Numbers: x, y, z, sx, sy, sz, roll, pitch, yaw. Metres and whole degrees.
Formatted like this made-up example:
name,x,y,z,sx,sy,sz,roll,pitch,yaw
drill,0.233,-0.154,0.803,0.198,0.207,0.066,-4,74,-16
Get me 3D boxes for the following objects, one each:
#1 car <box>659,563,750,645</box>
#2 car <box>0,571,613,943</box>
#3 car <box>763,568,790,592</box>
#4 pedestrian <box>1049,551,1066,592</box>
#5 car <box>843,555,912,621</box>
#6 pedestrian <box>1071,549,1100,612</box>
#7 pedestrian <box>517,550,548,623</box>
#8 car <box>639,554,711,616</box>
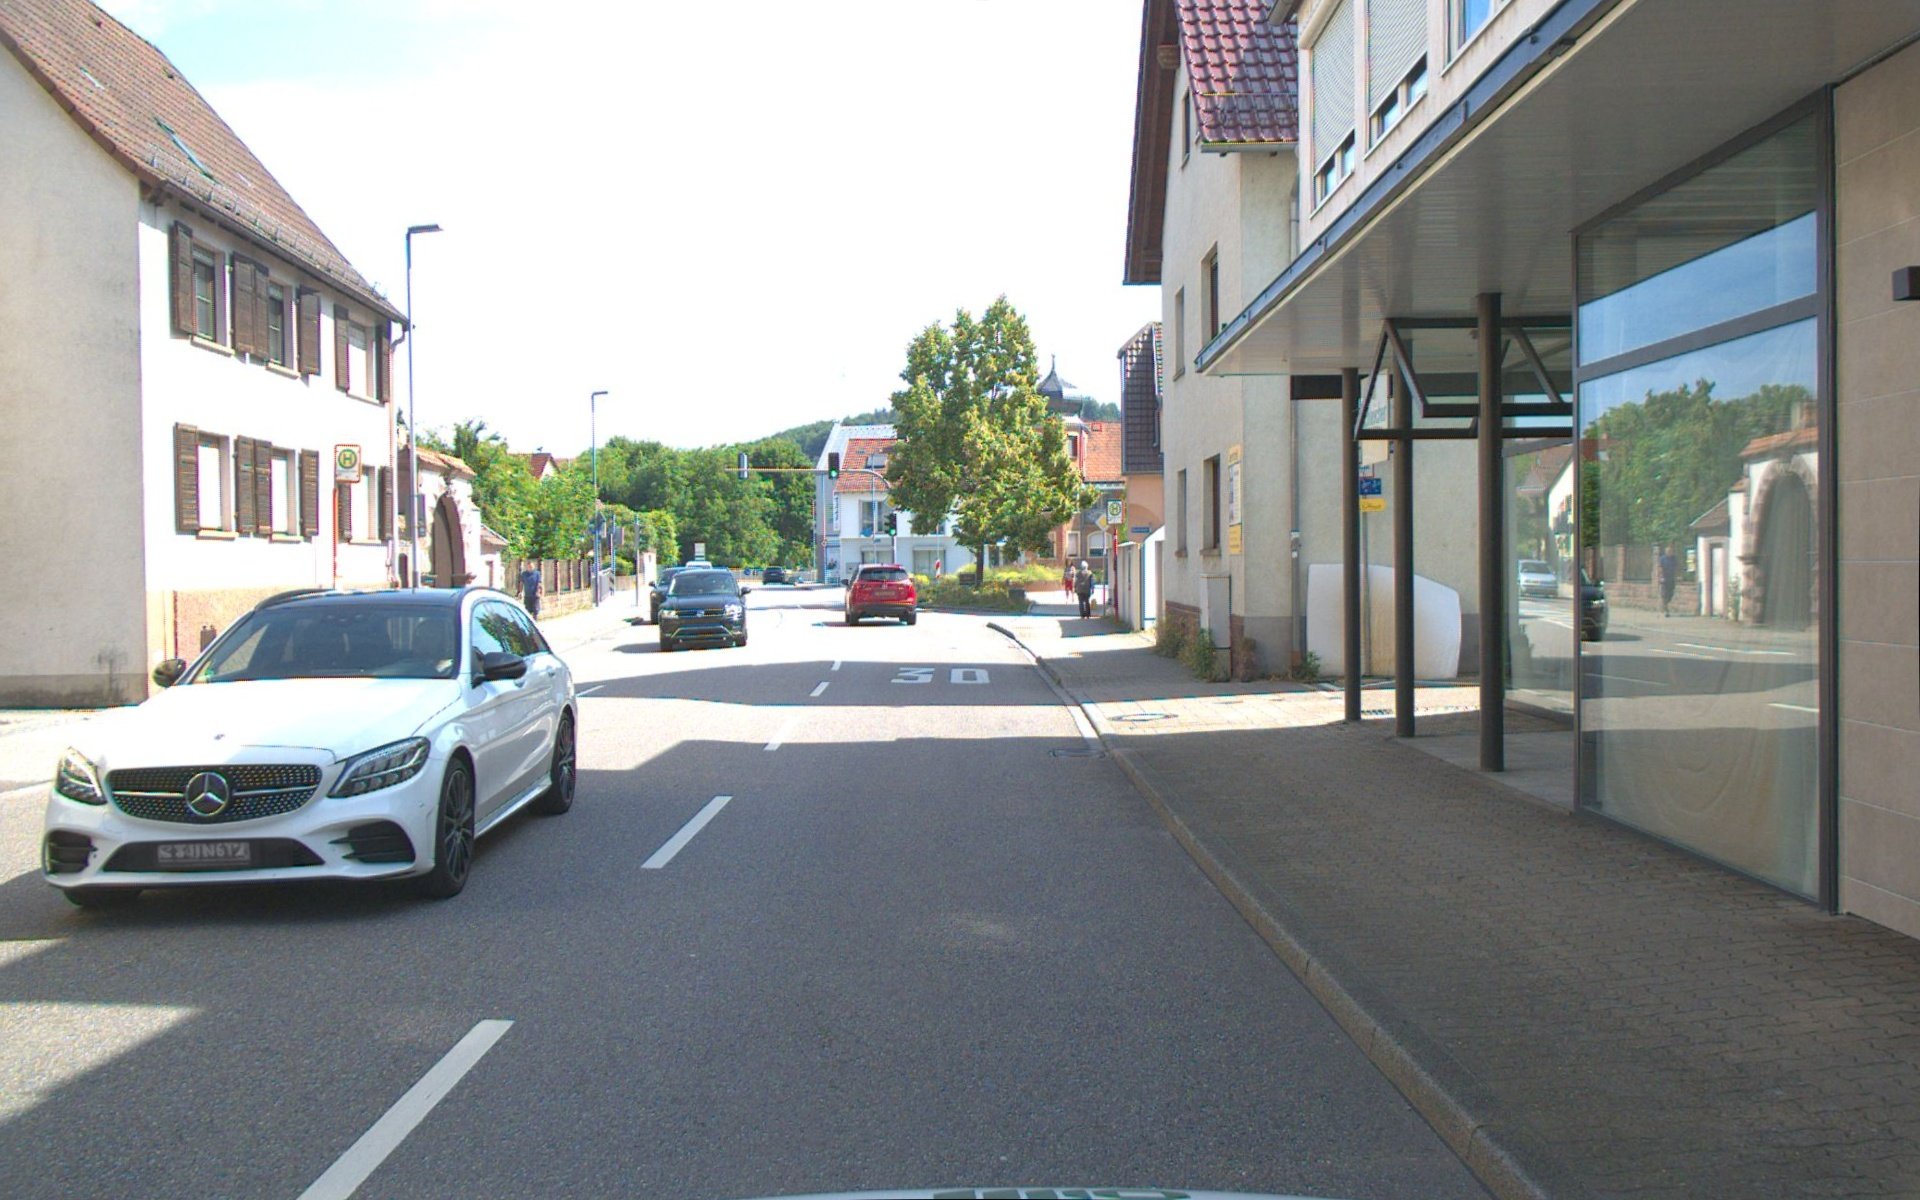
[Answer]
name,x,y,z,sx,sy,sz,roll,pitch,yaw
car,-5.535,0.025,36.003,1.805,1.559,4.245,-2,2,-8
car,-3.329,0.616,9.384,1.948,1.469,5.097,-2,1,-4
car,-15.352,-1.633,138.504,1.893,1.825,3.955,-2,-1,-1
pedestrian,4.603,-1.335,78.194,0.630,1.912,0.651,-1,-2,-8
car,-2.311,-0.343,45.955,1.822,1.744,4.419,0,0,-3
pedestrian,3.559,-0.545,46.867,0.630,1.737,0.699,-1,-2,-8
pedestrian,-11.204,-0.343,43.392,0.653,1.856,0.797,-1,-2,-8
car,-8.839,-0.478,51.518,1.739,1.815,3.837,-1,1,-3
